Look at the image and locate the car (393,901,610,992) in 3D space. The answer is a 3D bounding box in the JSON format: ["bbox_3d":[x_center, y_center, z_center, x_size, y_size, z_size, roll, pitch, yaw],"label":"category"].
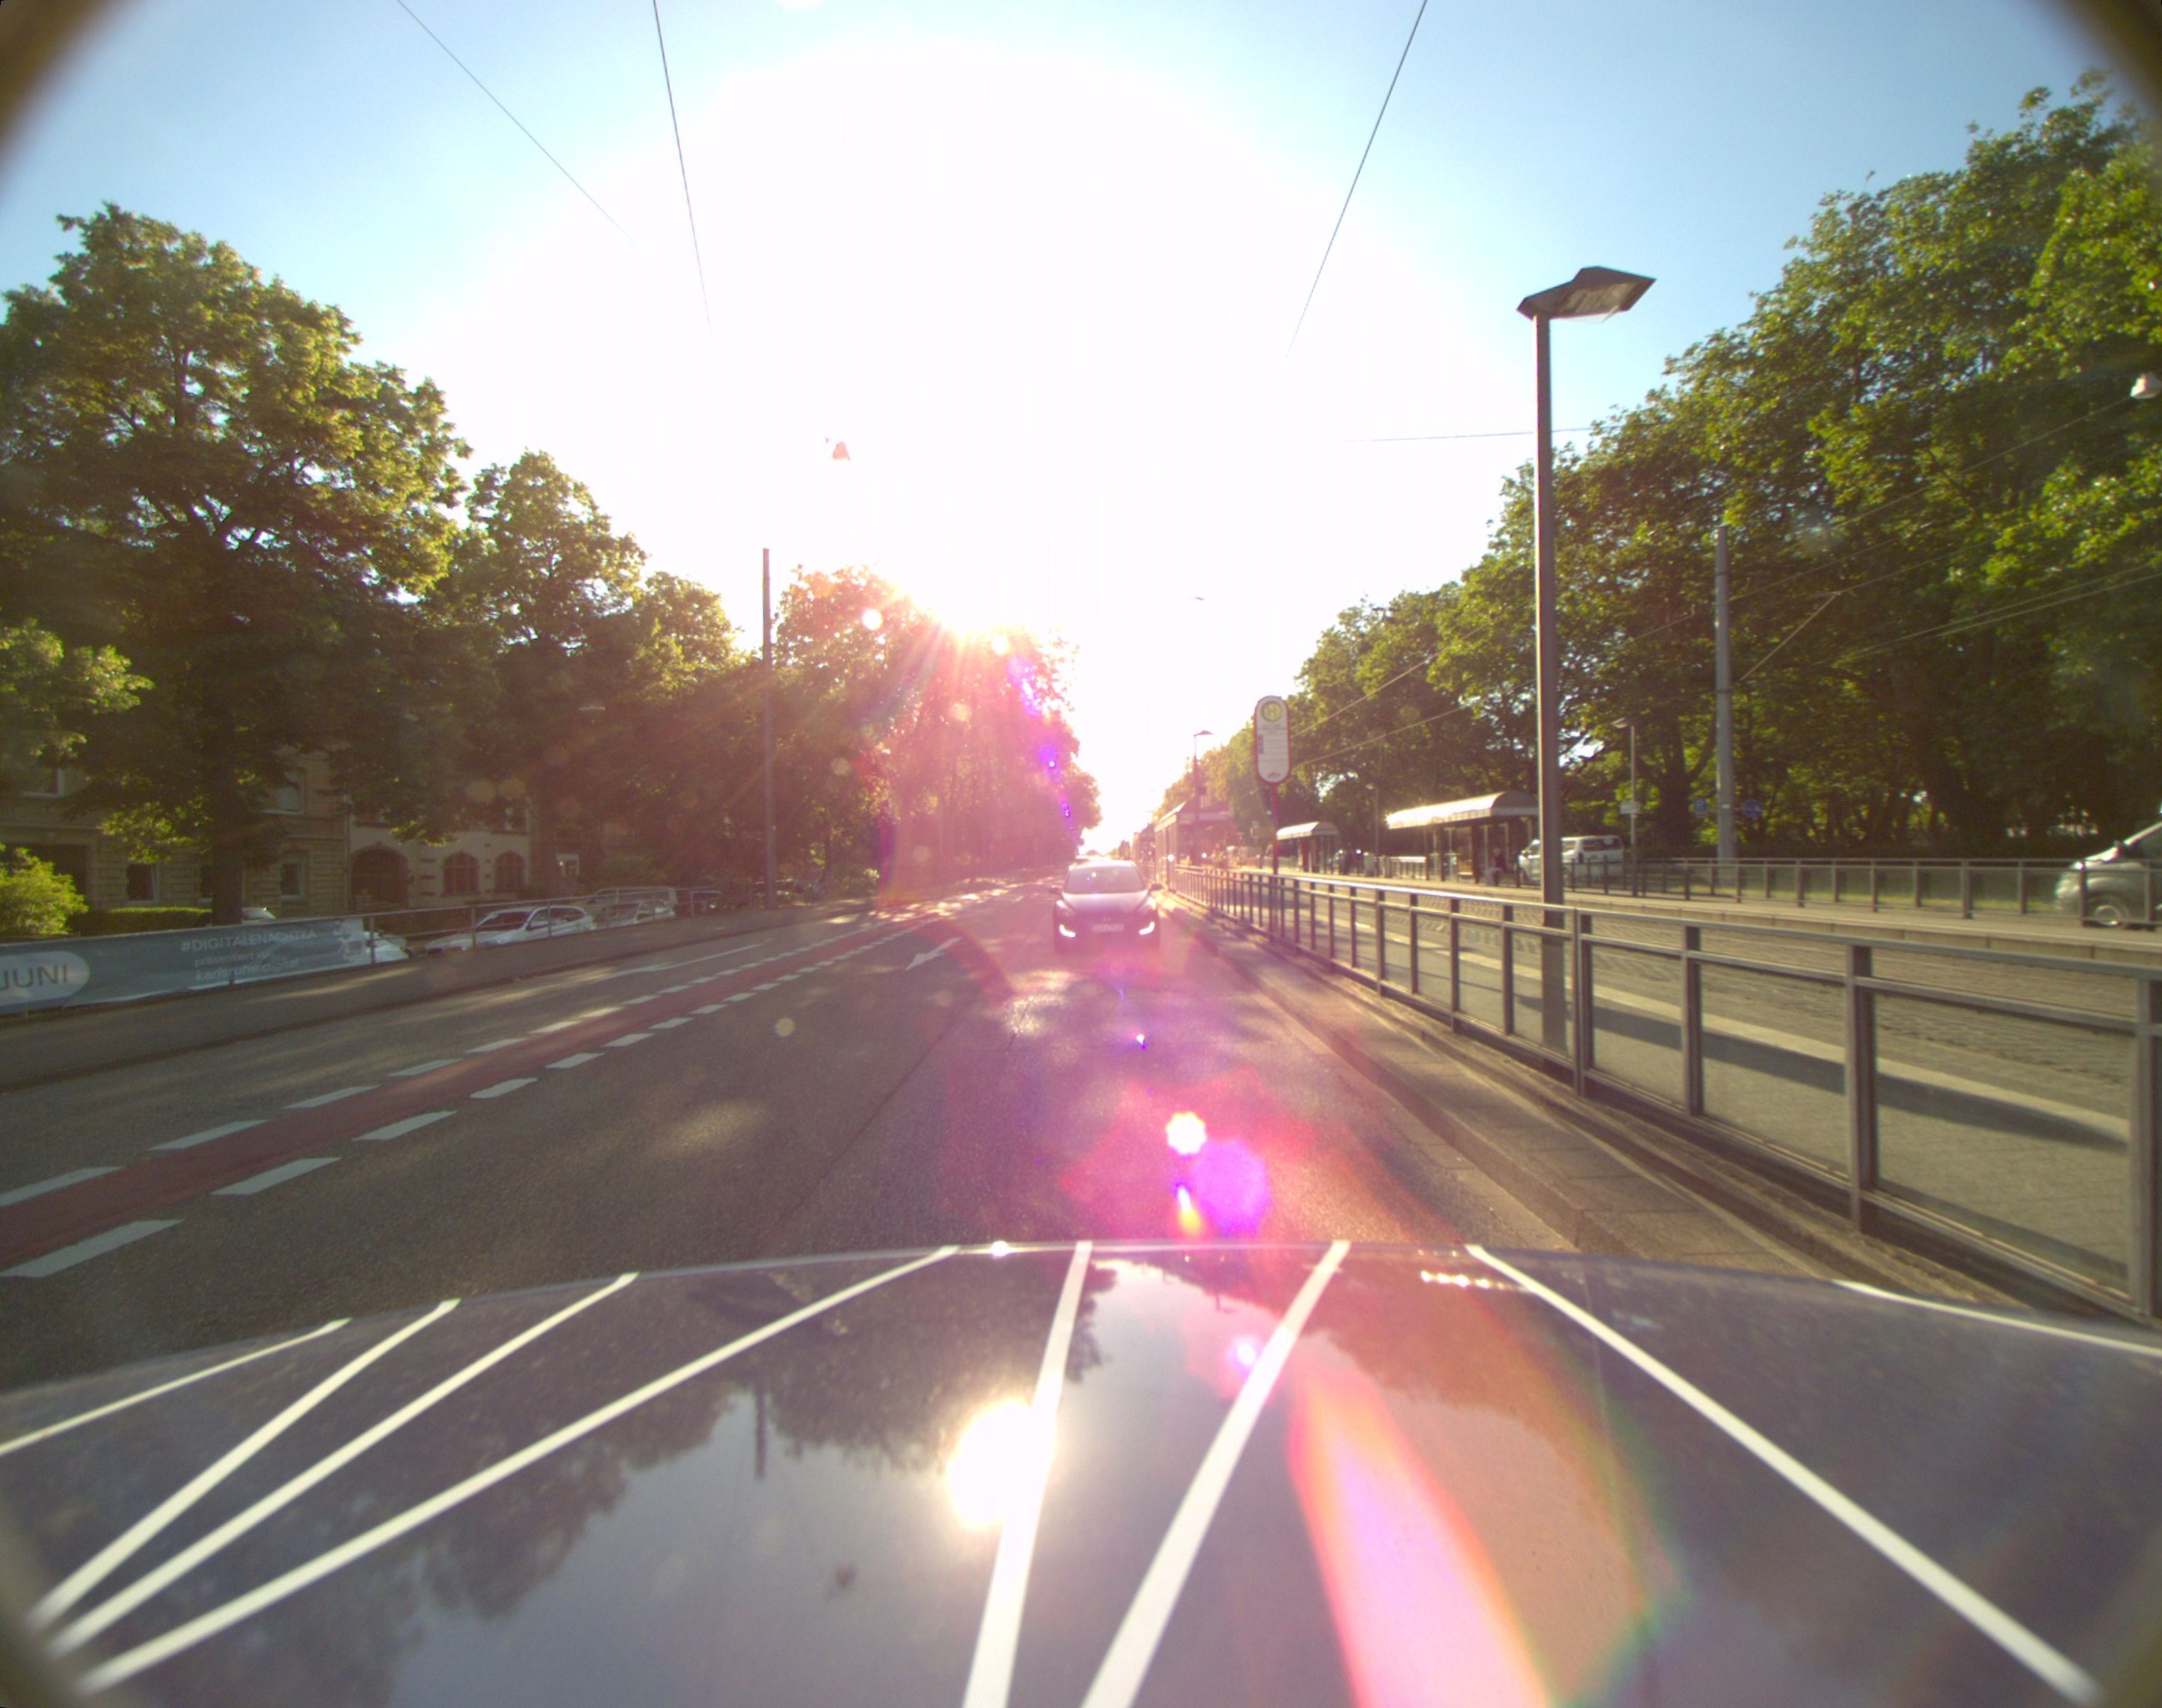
[{"bbox_3d":[-14.097,2.163,18.920,1.799,1.570,4.552,-2,1,1],"label":"car"}]

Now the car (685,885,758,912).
[{"bbox_3d":[-22.516,2.765,47.625,4.007,1.501,1.796,0,-1,-31],"label":"car"}]

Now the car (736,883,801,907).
[{"bbox_3d":[-21.954,2.848,53.348,4.007,1.501,1.796,0,-1,-31],"label":"car"}]

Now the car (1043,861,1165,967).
[{"bbox_3d":[0.381,0.934,13.561,1.798,1.501,4.000,-2,0,1],"label":"car"}]

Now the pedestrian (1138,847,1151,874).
[{"bbox_3d":[4.081,0.412,48.828,0.744,1.685,0.791,-3,1,2],"label":"pedestrian"}]

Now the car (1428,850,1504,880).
[{"bbox_3d":[20.455,0.545,40.607,1.799,1.501,4.340,0,1,-1],"label":"car"}]

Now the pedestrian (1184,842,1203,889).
[{"bbox_3d":[4.012,0.407,27.151,0.596,1.668,0.589,-2,1,6],"label":"pedestrian"}]

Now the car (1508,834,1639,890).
[{"bbox_3d":[20.228,0.284,31.563,2.072,2.112,5.089,0,1,-1],"label":"car"}]

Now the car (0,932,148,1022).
[{"bbox_3d":[-21.551,2.421,14.714,4.006,1.505,1.796,0,-1,-29],"label":"car"}]

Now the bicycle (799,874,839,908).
[{"bbox_3d":[-9.299,1.296,27.070,0.768,1.101,1.800,-1,0,1],"label":"bicycle"}]

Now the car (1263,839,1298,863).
[{"bbox_3d":[21.989,-0.356,84.050,2.189,2.506,6.031,0,1,-1],"label":"car"}]

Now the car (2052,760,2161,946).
[{"bbox_3d":[16.924,-0.031,9.898,2.072,2.727,5.029,-2,1,-1],"label":"car"}]

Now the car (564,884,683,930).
[{"bbox_3d":[-21.464,2.433,35.776,4.690,1.954,1.868,0,0,-31],"label":"car"}]

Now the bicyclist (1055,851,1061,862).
[{"bbox_3d":[-3.638,0.470,119.947,0.700,1.718,1.081,-1,0,9],"label":"bicyclist"}]

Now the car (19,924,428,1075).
[{"bbox_3d":[-13.967,2.255,12.909,1.799,1.570,4.442,-2,1,1],"label":"car"}]

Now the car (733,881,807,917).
[{"bbox_3d":[-14.369,2.035,35.346,1.799,1.301,3.999,-2,1,0],"label":"car"}]

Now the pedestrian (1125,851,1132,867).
[{"bbox_3d":[4.550,0.496,72.523,0.520,1.559,0.509,2,1,31],"label":"pedestrian"}]

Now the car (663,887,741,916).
[{"bbox_3d":[-22.235,2.741,44.595,4.007,1.501,1.796,0,-1,-31],"label":"car"}]

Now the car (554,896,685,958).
[{"bbox_3d":[-14.046,2.184,23.378,1.799,1.433,3.576,-2,1,-1],"label":"car"}]

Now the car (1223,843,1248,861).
[{"bbox_3d":[21.744,-0.345,107.048,2.189,2.506,6.048,0,1,-1],"label":"car"}]

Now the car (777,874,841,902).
[{"bbox_3d":[-21.342,2.634,59.626,4.470,2.002,1.992,0,0,-29],"label":"car"}]

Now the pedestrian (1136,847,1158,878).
[{"bbox_3d":[3.658,0.466,42.115,0.800,1.624,0.868,-3,0,39],"label":"pedestrian"}]

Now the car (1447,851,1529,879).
[{"bbox_3d":[20.394,0.530,38.306,1.774,1.284,4.314,0,1,-1],"label":"car"}]

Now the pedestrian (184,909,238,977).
[{"bbox_3d":[-23.642,2.408,20.661,0.650,1.736,0.631,-1,1,-4],"label":"pedestrian"}]

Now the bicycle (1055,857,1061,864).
[{"bbox_3d":[-3.625,0.966,119.951,0.700,1.101,1.931,-1,0,9],"label":"bicycle"}]

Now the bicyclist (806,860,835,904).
[{"bbox_3d":[-9.297,0.995,27.097,0.768,1.504,0.650,-1,1,1],"label":"bicyclist"}]

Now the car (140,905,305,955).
[{"bbox_3d":[-29.764,2.619,26.430,3.575,1.513,1.800,0,0,-2],"label":"car"}]

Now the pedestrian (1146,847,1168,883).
[{"bbox_3d":[3.690,0.528,36.818,0.654,1.712,0.708,-3,1,-34],"label":"pedestrian"}]

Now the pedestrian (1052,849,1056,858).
[{"bbox_3d":[-4.581,-0.061,129.551,0.649,1.626,0.928,1,1,2],"label":"pedestrian"}]

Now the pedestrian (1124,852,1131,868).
[{"bbox_3d":[4.378,0.540,71.909,0.591,1.511,0.514,1,1,2],"label":"pedestrian"}]

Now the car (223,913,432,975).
[{"bbox_3d":[-20.985,2.488,21.286,3.997,1.505,1.800,0,0,-1],"label":"car"}]

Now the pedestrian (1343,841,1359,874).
[{"bbox_3d":[14.749,0.159,41.488,0.649,1.762,0.650,-2,1,4],"label":"pedestrian"}]

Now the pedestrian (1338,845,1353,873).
[{"bbox_3d":[14.688,0.263,42.230,0.594,1.535,0.626,-2,1,2],"label":"pedestrian"}]

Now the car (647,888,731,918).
[{"bbox_3d":[-21.516,2.683,41.747,3.932,1.443,1.685,0,-1,-33],"label":"car"}]

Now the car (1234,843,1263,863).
[{"bbox_3d":[21.840,-0.159,99.216,2.189,2.506,6.269,0,1,-2],"label":"car"}]

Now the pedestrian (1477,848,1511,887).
[{"bbox_3d":[14.020,0.447,25.811,0.671,1.317,0.757,1,1,-1],"label":"pedestrian"}]

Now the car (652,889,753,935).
[{"bbox_3d":[-14.193,2.135,28.747,1.799,1.301,3.999,-2,1,0],"label":"car"}]

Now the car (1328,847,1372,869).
[{"bbox_3d":[20.988,0.252,59.541,1.908,1.642,3.971,0,1,-2],"label":"car"}]

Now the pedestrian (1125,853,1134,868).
[{"bbox_3d":[4.524,0.623,70.821,0.592,1.398,0.558,0,1,-19],"label":"pedestrian"}]

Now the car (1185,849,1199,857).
[{"bbox_3d":[20.853,-0.132,142.909,1.832,1.428,4.323,0,1,-1],"label":"car"}]
